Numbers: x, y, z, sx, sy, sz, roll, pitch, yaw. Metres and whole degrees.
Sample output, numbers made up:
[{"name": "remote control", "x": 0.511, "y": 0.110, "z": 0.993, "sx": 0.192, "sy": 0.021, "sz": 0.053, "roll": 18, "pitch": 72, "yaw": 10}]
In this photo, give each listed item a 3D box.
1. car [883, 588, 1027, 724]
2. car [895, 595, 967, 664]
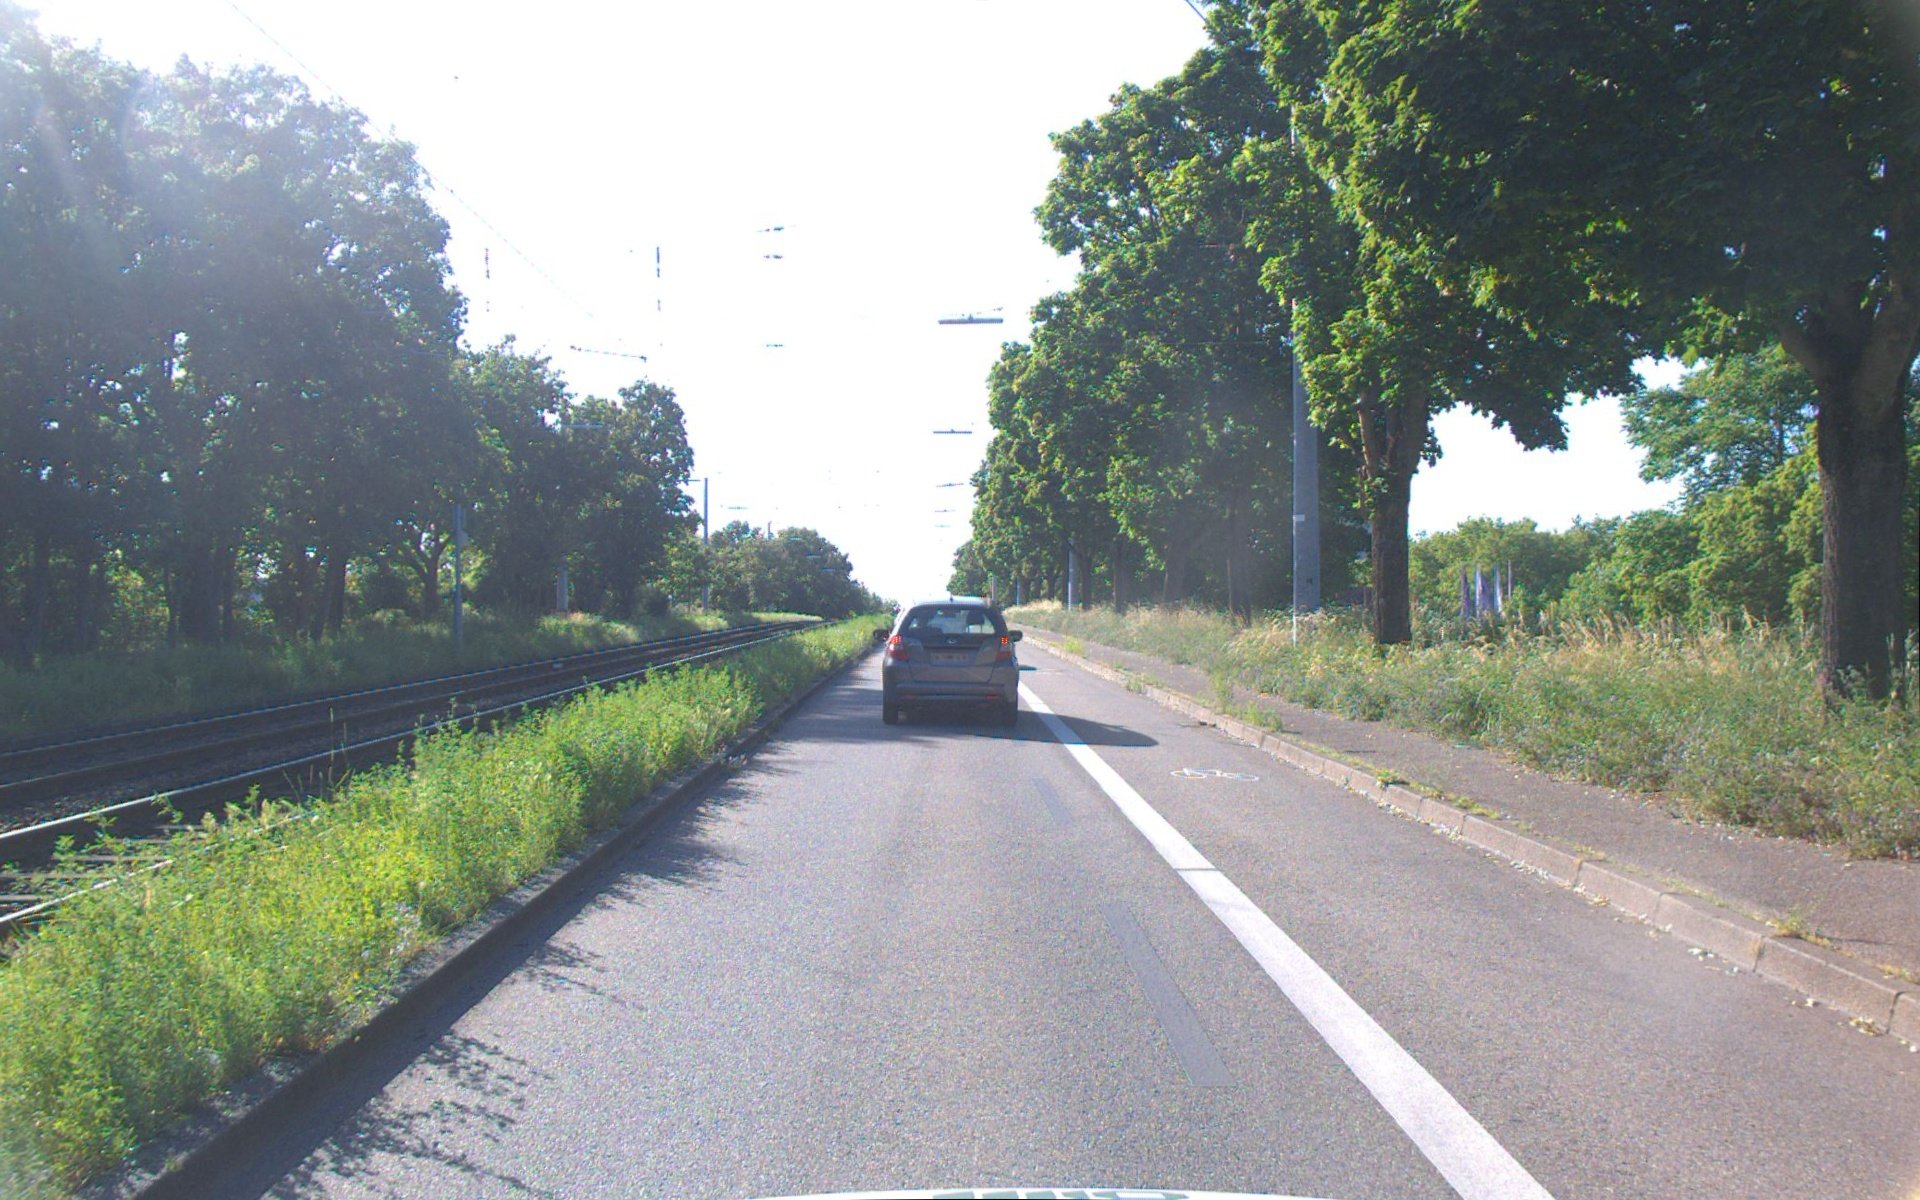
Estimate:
[{"name": "car", "x": -0.064, "y": 0.653, "z": 21.060, "sx": 1.636, "sy": 1.534, "sz": 3.810, "roll": 1, "pitch": 0, "yaw": 0}, {"name": "car", "x": -0.668, "y": 0.668, "z": 39.614, "sx": 1.621, "sy": 1.534, "sz": 3.810, "roll": 1, "pitch": 0, "yaw": 0}]
